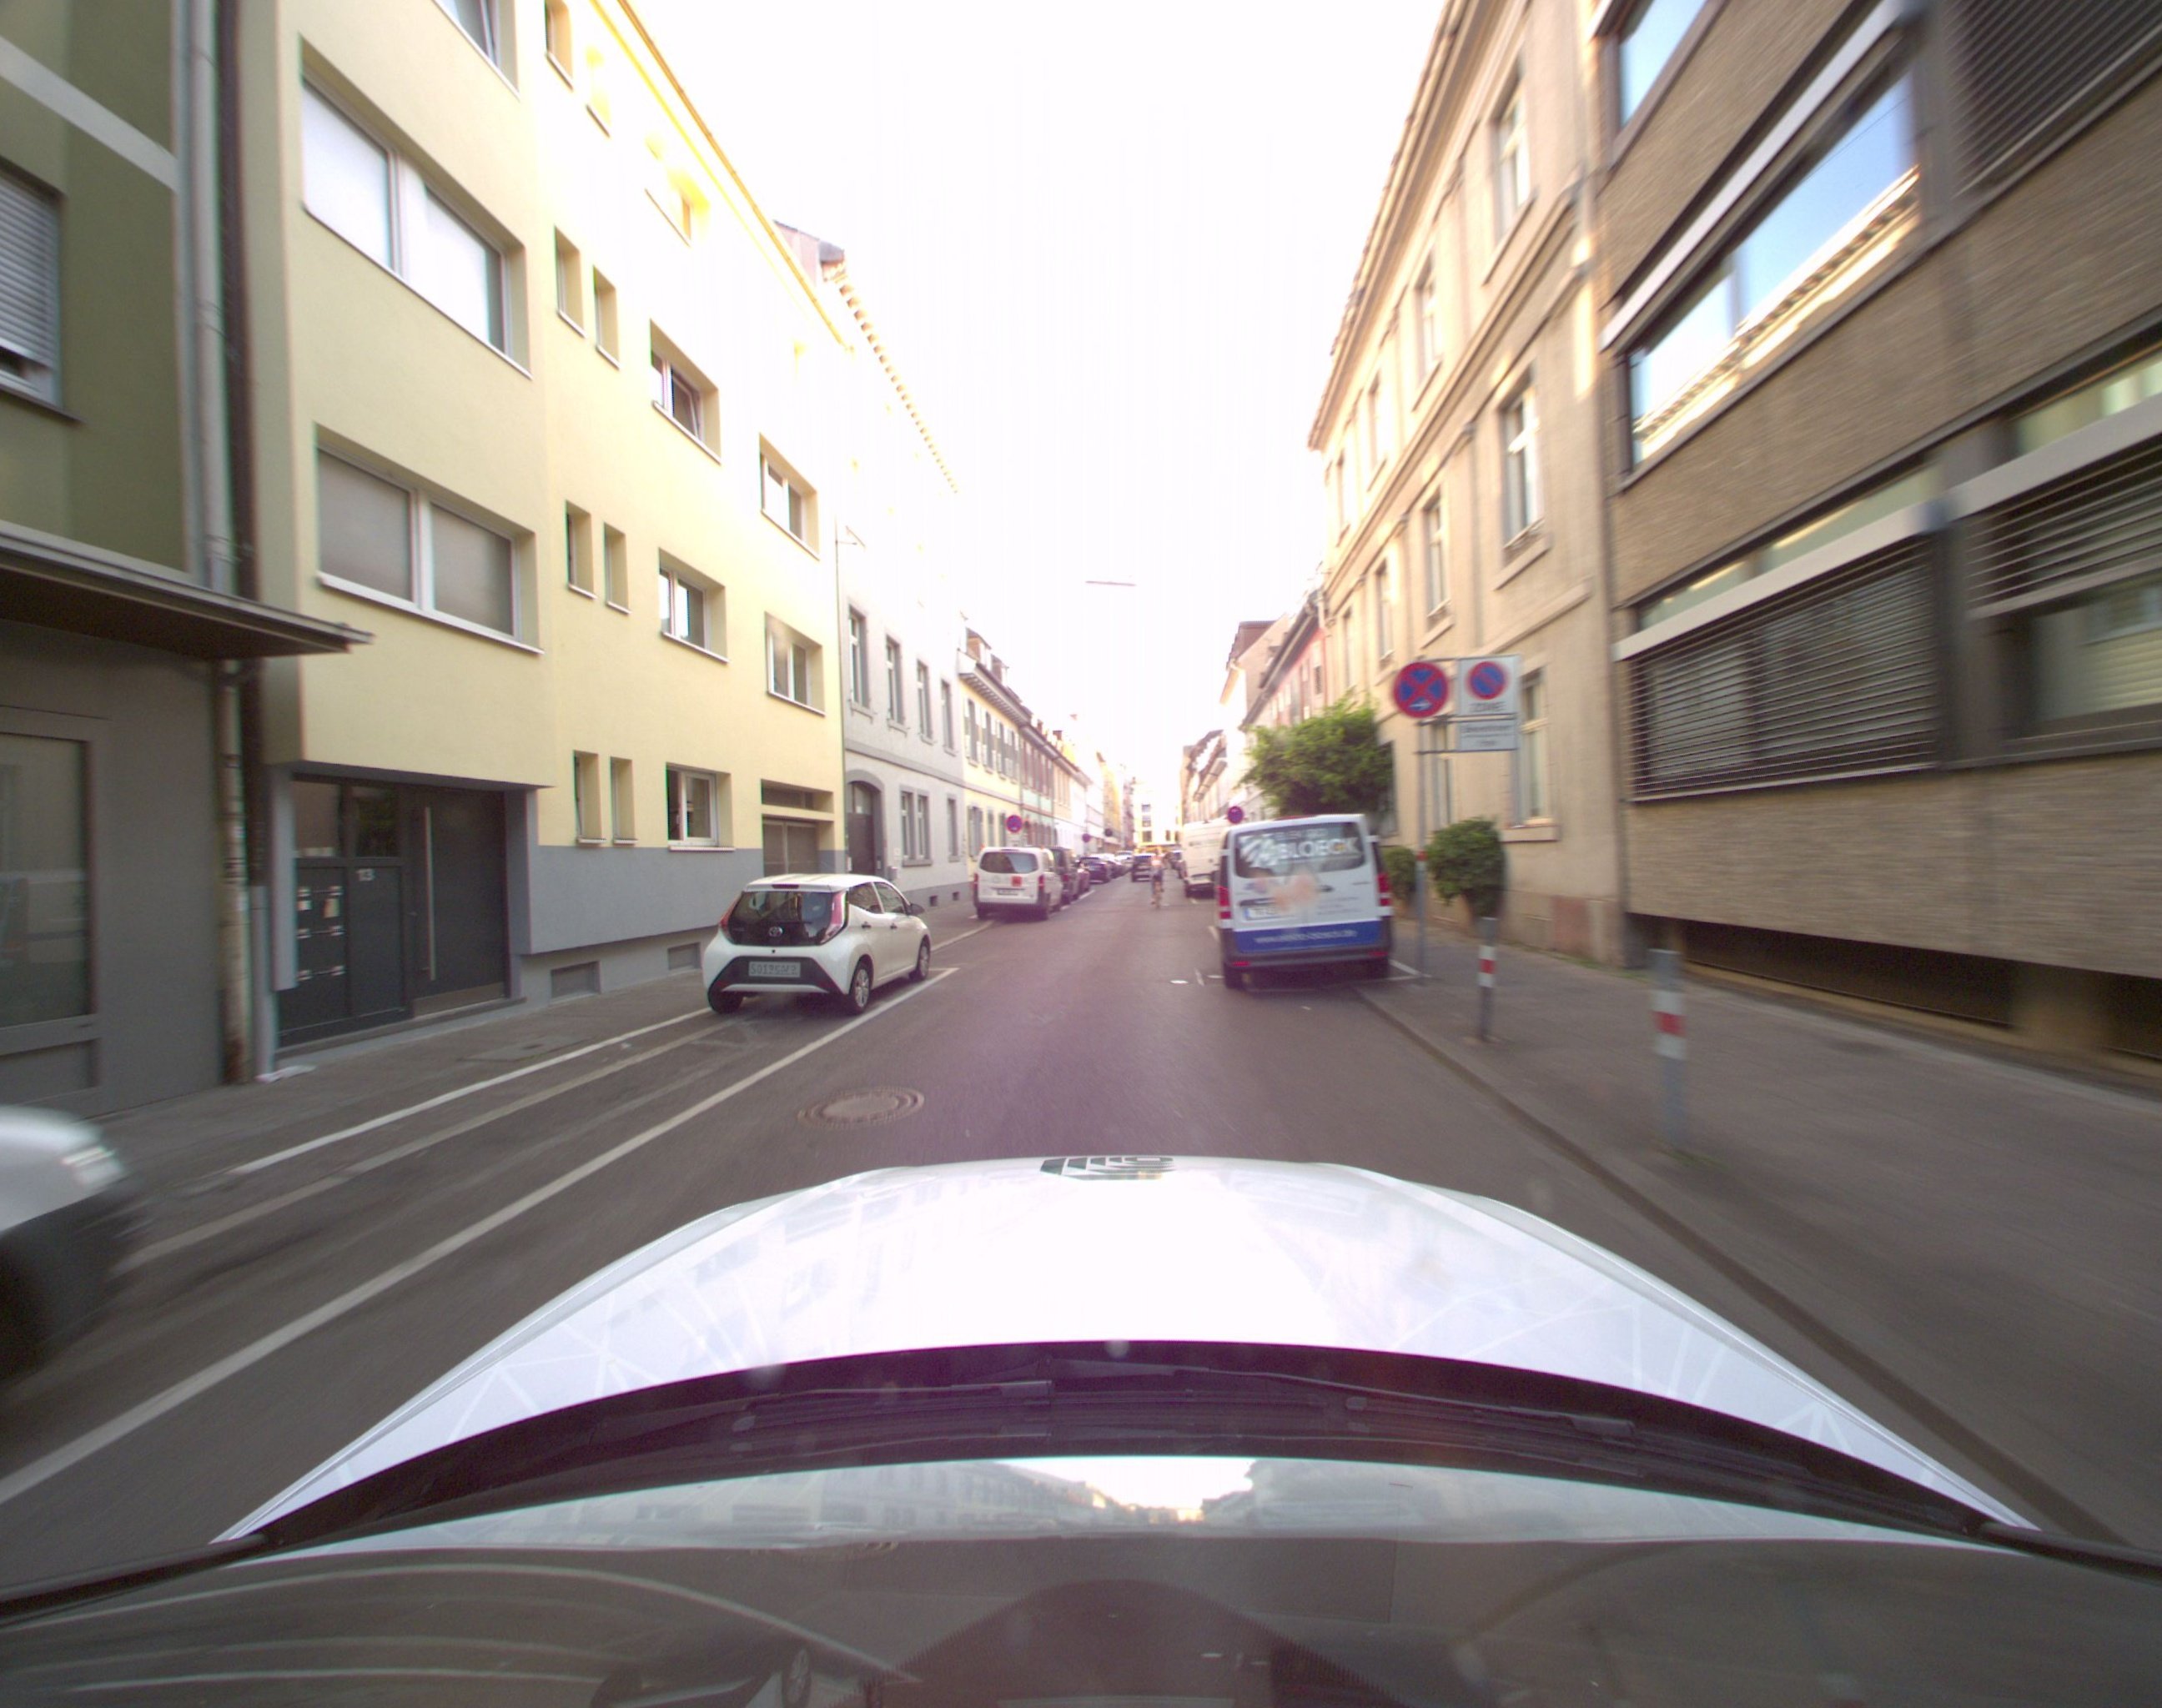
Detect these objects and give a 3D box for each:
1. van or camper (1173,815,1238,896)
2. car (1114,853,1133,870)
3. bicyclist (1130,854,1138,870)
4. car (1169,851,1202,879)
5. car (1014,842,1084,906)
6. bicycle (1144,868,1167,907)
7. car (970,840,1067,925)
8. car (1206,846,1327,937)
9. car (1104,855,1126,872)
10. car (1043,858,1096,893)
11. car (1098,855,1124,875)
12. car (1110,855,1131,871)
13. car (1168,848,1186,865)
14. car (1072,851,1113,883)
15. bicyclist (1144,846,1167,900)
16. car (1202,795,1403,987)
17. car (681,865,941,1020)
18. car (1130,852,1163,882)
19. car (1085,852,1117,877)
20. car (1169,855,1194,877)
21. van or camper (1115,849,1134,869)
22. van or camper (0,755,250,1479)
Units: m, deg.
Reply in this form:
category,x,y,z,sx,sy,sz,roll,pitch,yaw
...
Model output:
category,x,y,z,sx,sy,sz,roll,pitch,yaw
van or camper,4.603,0.037,30.942,2.039,2.637,7.076,-3,0,7
car,4.221,0.710,80.693,1.645,1.561,3.611,-1,0,6
bicyclist,4.599,0.652,70.601,0.602,1.369,0.622,-2,0,7
car,6.538,0.658,51.089,1.810,1.530,5.081,-6,-1,7
car,-1.047,0.656,29.109,1.854,2.013,4.819,-3,0,4
bicycle,2.224,0.976,24.174,0.610,1.082,1.812,-2,0,7
car,-1.586,0.692,22.656,1.854,2.013,5.112,-3,0,4
car,3.467,0.646,15.870,1.648,1.505,3.757,-3,0,3
car,2.980,0.832,70.678,1.645,1.411,3.909,-1,0,6
car,-0.440,0.901,36.079,1.756,1.401,4.270,-2,0,6
car,2.377,0.834,64.150,1.909,1.434,4.298,-1,0,4
car,3.692,0.826,75.643,1.645,1.411,3.611,-1,0,6
car,9.442,0.259,80.451,1.645,1.561,3.611,-1,0,6
car,0.731,0.718,46.689,1.793,1.676,4.499,-2,0,7
bicyclist,2.220,0.565,24.220,0.617,1.574,0.685,-2,0,6
car,2.683,0.380,11.011,1.925,1.898,5.290,-3,0,9
car,-2.978,0.892,9.805,1.654,1.449,3.526,1,0,5
car,3.837,0.734,47.615,1.811,1.618,4.006,-1,0,5
car,1.481,0.703,57.801,1.989,1.707,4.541,-1,0,4
car,7.149,0.842,58.235,1.668,1.486,4.007,-1,0,6
van or camper,4.648,0.488,86.535,1.835,2.013,4.686,-1,0,6
van or camper,-3.837,0.709,0.639,1.763,1.848,4.186,-3,0,6
